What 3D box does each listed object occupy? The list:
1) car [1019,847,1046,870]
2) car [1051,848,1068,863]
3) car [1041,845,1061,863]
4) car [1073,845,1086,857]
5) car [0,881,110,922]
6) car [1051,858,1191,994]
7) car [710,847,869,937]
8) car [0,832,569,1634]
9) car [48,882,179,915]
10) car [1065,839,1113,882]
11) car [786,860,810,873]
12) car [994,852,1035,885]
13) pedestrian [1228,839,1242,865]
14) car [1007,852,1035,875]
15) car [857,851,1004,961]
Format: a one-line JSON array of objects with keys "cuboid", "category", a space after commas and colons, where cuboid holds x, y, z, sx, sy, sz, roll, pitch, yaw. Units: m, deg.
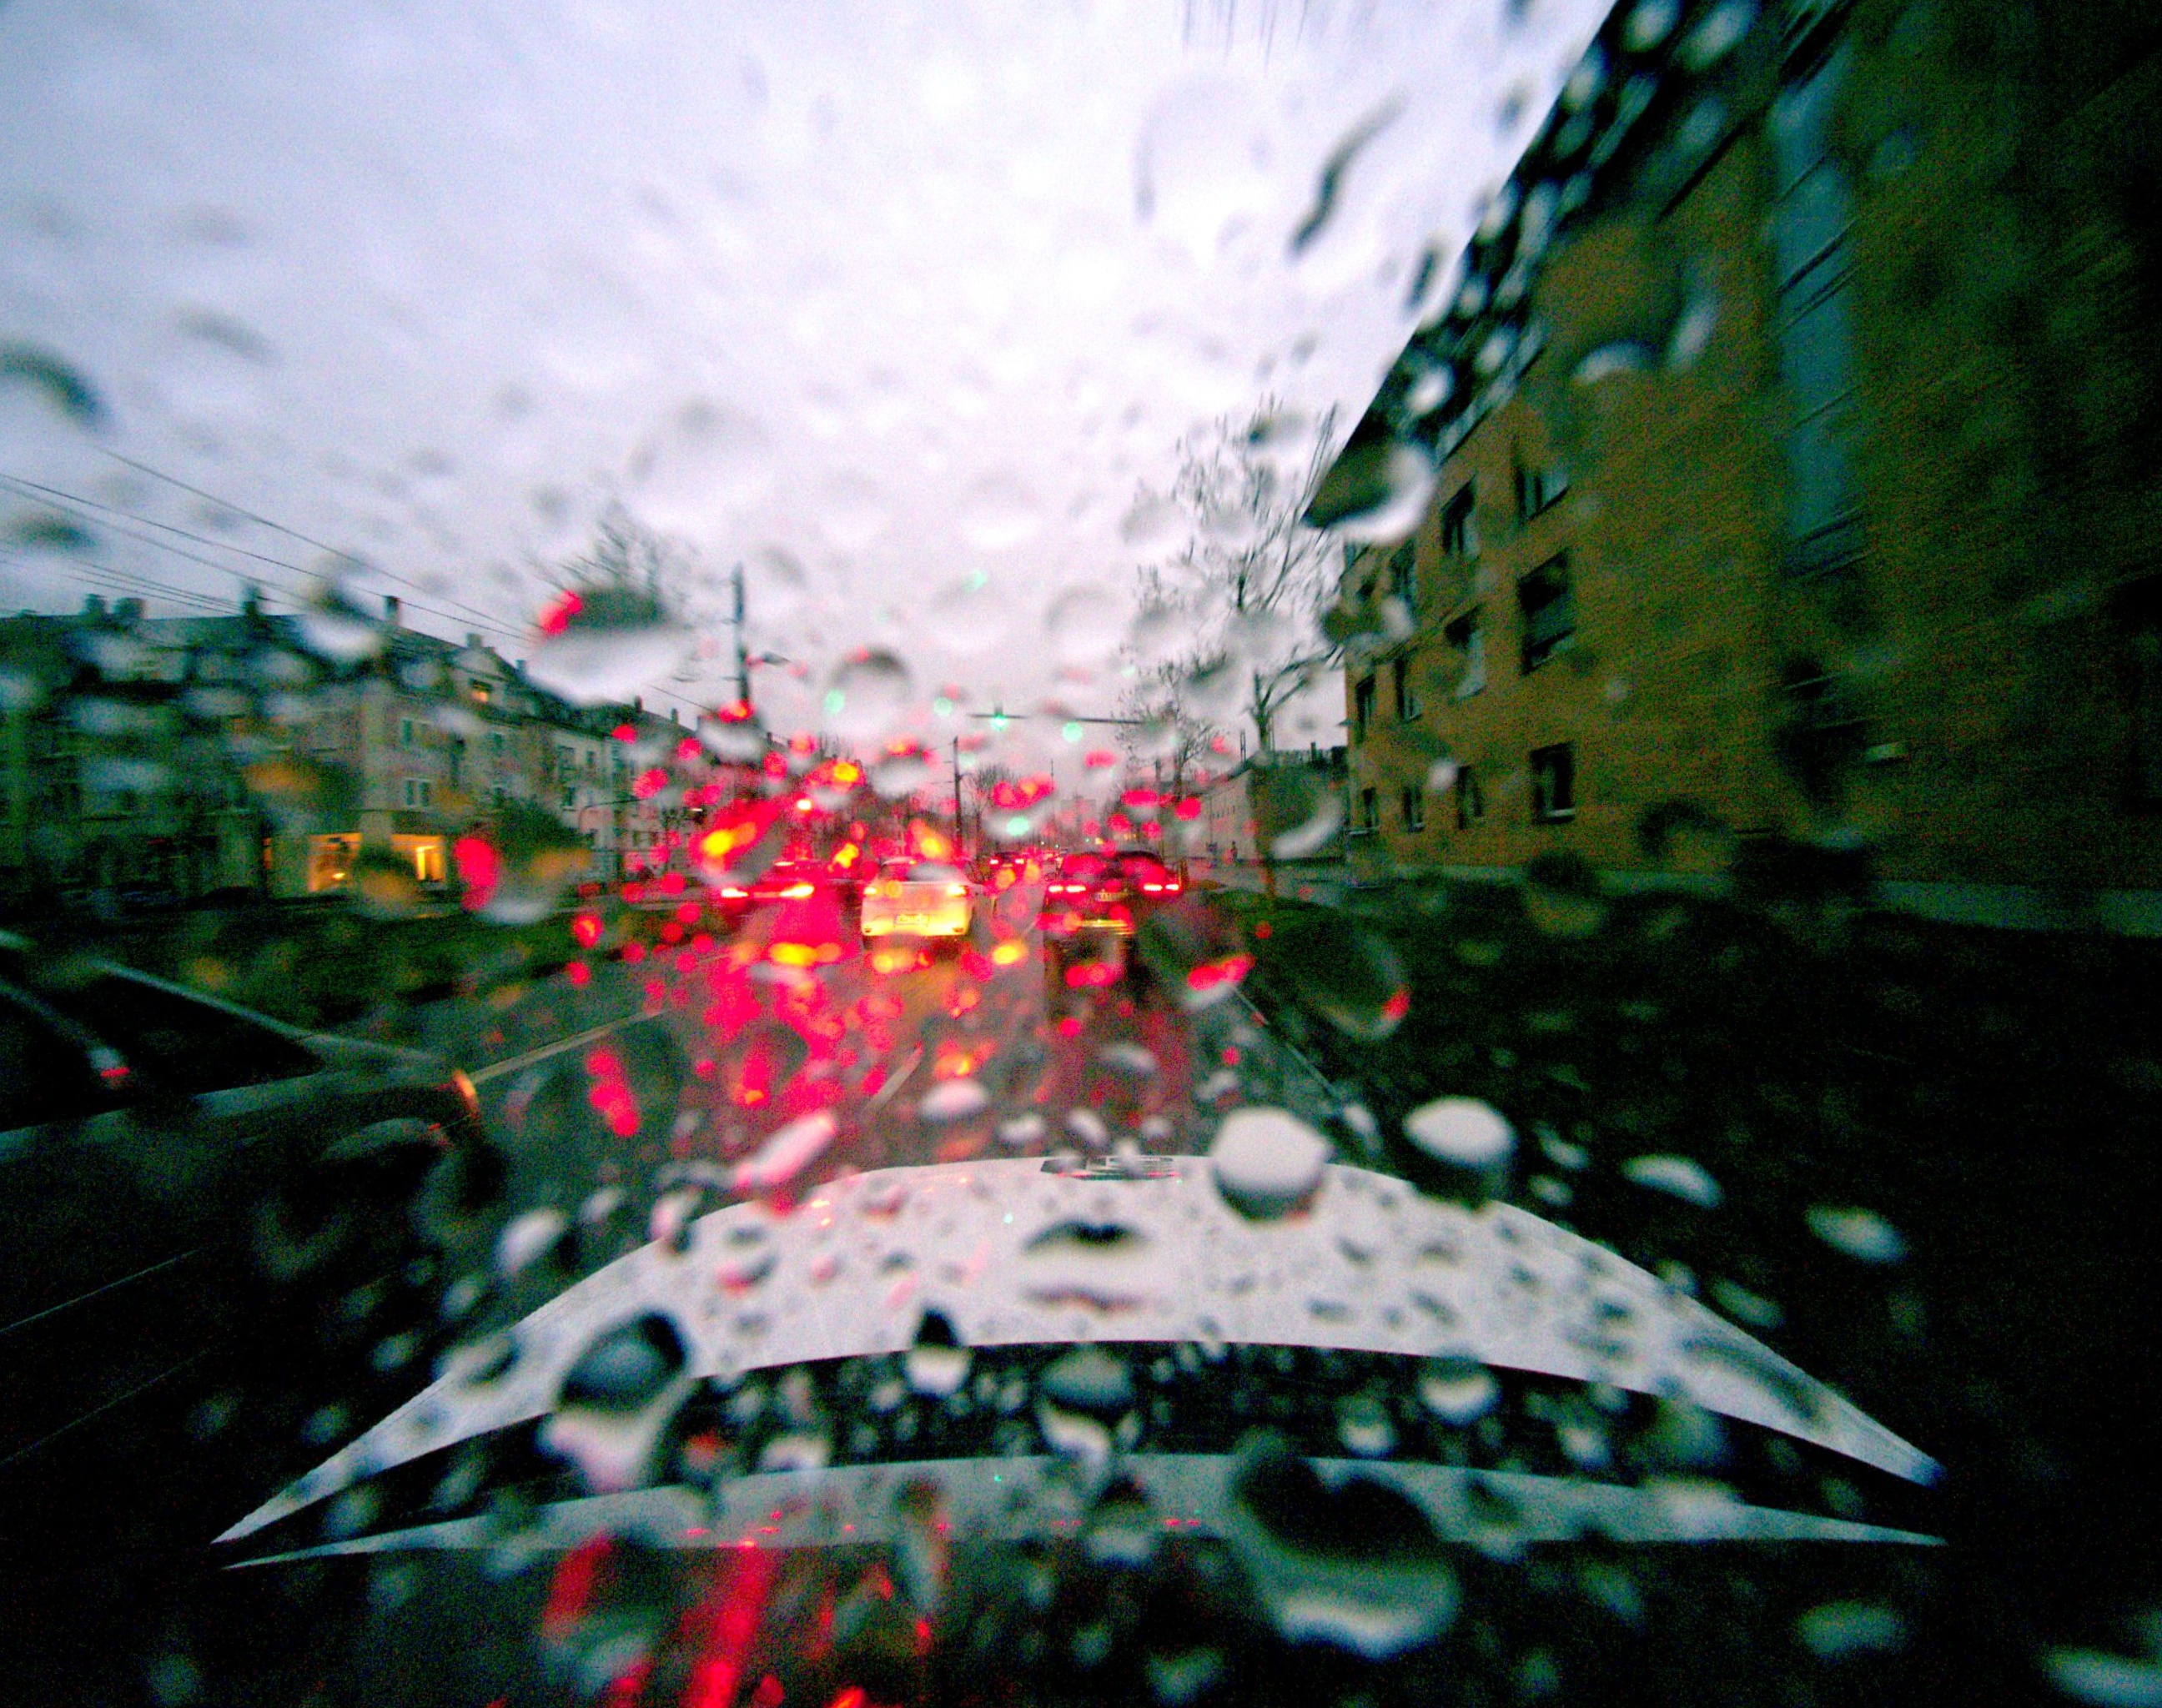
[{"cuboid": [-4.407, 0.393, 74.655, 1.985, 2.014, 4.002, 0, -1, 2], "category": "car"}, {"cuboid": [-3.000, 0.186, 114.038, 1.986, 2.014, 4.002, 0, -1, 2], "category": "car"}, {"cuboid": [-3.446, 0.023, 94.664, 1.986, 2.014, 4.002, 0, -1, 2], "category": "car"}, {"cuboid": [-0.254, -0.590, 141.804, 1.986, 2.013, 4.003, -3, 0, 2], "category": "car"}, {"cuboid": [-43.710, 2.002, 34.070, 3.974, 1.486, 1.794, -2, 0, 0], "category": "car"}, {"cuboid": [0.540, 0.883, 11.895, 1.666, 1.600, 4.055, -1, 0, 1], "category": "car"}, {"cuboid": [-5.779, 0.678, 16.684, 1.666, 1.600, 4.055, -1, 0, 1], "category": "car"}, {"cuboid": [-3.081, 0.773, 1.322, 1.802, 1.600, 4.055, -1, 0, 2], "category": "car"}, {"cuboid": [-48.849, 2.224, 41.208, 3.980, 1.420, 1.997, -2, 0, -5], "category": "car"}, {"cuboid": [0.401, 0.275, 36.670, 1.986, 1.744, 4.002, -2, 0, 2], "category": "car"}, {"cuboid": [-35.949, 1.574, 103.566, 1.770, 1.500, 3.557, -2, 1, 0], "category": "car"}, {"cuboid": [-3.419, 0.717, 42.278, 1.666, 1.600, 4.055, -1, 0, 1], "category": "car"}, {"cuboid": [9.755, -0.143, 51.682, 0.619, 1.610, 1.066, -2, 0, -3], "category": "pedestrian"}, {"cuboid": [-4.407, 0.656, 60.423, 1.666, 1.600, 4.055, -1, 0, 1], "category": "car"}, {"cuboid": [-2.425, 0.773, 14.107, 1.666, 1.600, 4.055, -1, 0, 1], "category": "car"}]
